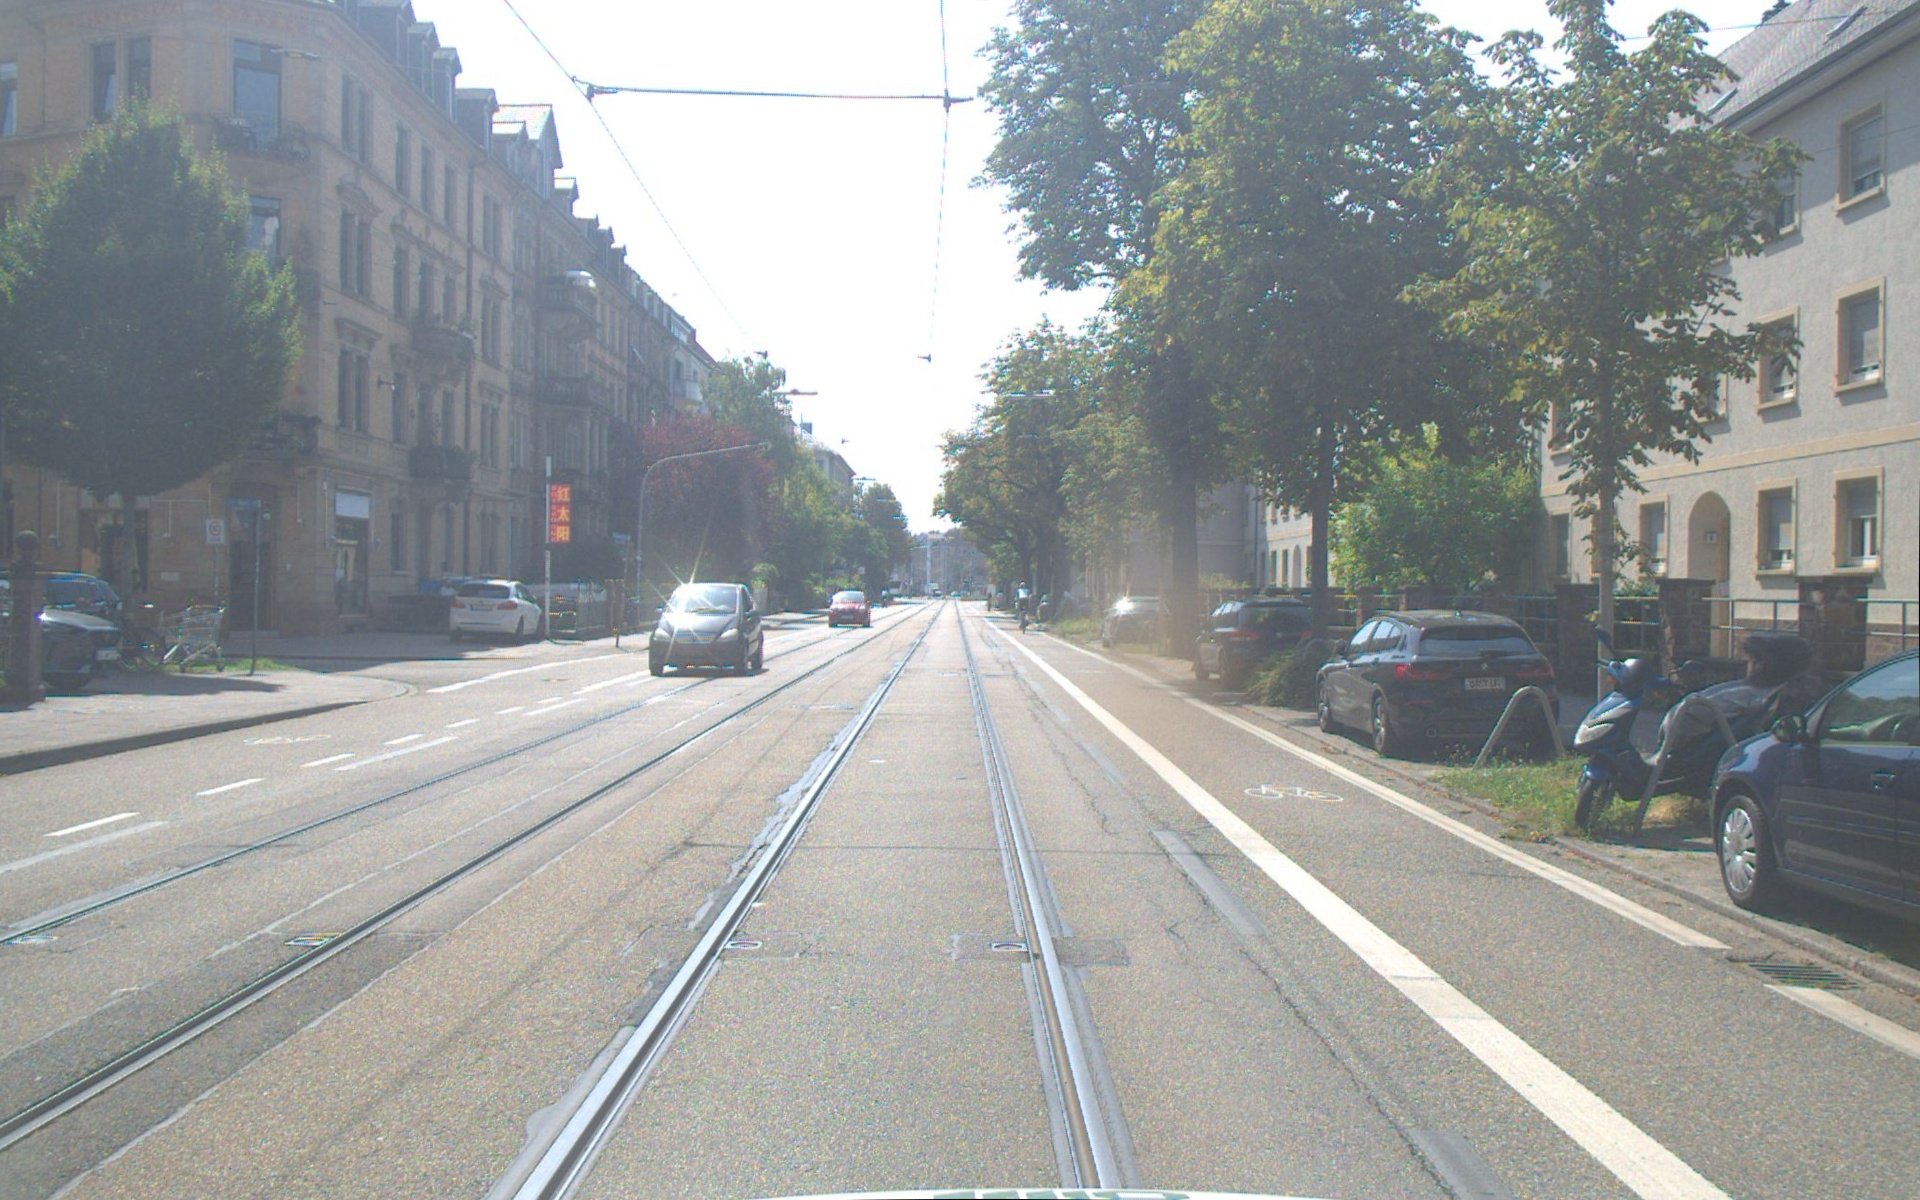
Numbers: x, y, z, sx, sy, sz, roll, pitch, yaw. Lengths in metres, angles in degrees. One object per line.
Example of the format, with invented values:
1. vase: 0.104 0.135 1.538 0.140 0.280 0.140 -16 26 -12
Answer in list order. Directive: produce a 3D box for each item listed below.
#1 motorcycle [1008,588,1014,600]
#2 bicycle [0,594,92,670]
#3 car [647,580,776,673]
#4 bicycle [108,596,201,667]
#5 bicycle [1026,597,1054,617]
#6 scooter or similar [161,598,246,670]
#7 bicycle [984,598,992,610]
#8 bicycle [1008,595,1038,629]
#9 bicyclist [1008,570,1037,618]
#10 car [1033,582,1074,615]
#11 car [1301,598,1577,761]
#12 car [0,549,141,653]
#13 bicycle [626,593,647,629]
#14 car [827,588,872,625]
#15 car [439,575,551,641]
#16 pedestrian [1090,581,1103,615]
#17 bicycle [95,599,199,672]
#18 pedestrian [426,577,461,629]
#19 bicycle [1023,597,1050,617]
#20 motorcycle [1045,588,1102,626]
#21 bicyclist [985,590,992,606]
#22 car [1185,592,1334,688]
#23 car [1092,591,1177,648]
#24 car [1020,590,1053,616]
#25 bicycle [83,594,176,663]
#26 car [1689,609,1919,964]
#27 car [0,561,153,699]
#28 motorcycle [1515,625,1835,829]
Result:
1. motorcycle: 4.794 -0.534 155.323 0.537 1.086 2.330 1 0 0
2. bicycle: -14.166 0.483 25.521 1.416 1.118 0.391 2 1 11
3. car: -4.462 0.434 30.174 1.790 1.567 4.000 0 1 -1
4. bicycle: -13.291 0.509 27.315 0.381 1.118 1.451 2 1 25
5. bicycle: 4.814 0.406 99.591 1.686 1.169 0.377 1 0 6
6. scooter or similar: -12.458 0.548 27.276 0.583 1.118 1.390 2 1 10
7. bicycle: 2.303 0.286 134.057 0.575 0.955 2.172 1 0 2
8. bicycle: 2.465 0.463 65.293 1.124 1.291 2.712 1 0 1
9. bicyclist: 2.466 -0.239 65.254 1.102 1.869 0.956 1 0 0
10. car: 4.826 -0.089 85.823 1.803 1.558 4.115 0 2 -1
11. car: 5.138 0.777 18.398 1.720 1.503 4.457 -3 0 0
12. car: -16.446 0.001 28.119 1.952 1.718 4.360 1 0 20
13. bicycle: -10.329 0.343 52.834 0.382 1.118 1.568 1 1 -3
14. car: -4.720 0.247 70.853 1.696 1.516 4.000 0 1 -1
15. car: -12.145 0.180 43.435 1.954 1.622 4.356 1 0 -4
16. pedestrian: 7.895 -0.129 95.567 0.692 1.925 0.714 1 0 1
17. bicycle: -12.731 0.557 25.934 1.427 1.118 0.388 1 1 -23
18. pedestrian: -15.615 0.084 50.049 0.851 1.537 0.884 1 0 -9
19. bicycle: 4.598 0.407 99.216 1.571 1.123 0.399 1 0 6
20. motorcycle: 4.815 0.306 70.291 2.303 1.567 0.963 -2 -2 41
21. bicyclist: 2.311 -0.143 134.083 0.567 1.301 0.471 1 0 2
22. car: 5.110 0.634 28.788 1.720 1.503 4.386 1 1 -1
23. car: 4.912 0.528 47.223 1.854 1.503 4.840 1 0 -1
24. car: 4.756 0.148 103.099 1.803 1.559 4.779 0 0 -1
25. bicycle: -13.889 0.463 27.684 0.381 1.118 1.451 2 1 25
26. car: 4.974 0.828 7.468 1.584 1.503 4.039 0 1 0
27. car: -12.648 0.301 20.804 4.017 1.622 1.879 2 0 1
28. motorcycle: 5.106 0.892 11.893 1.964 1.392 0.782 1 0 -3
